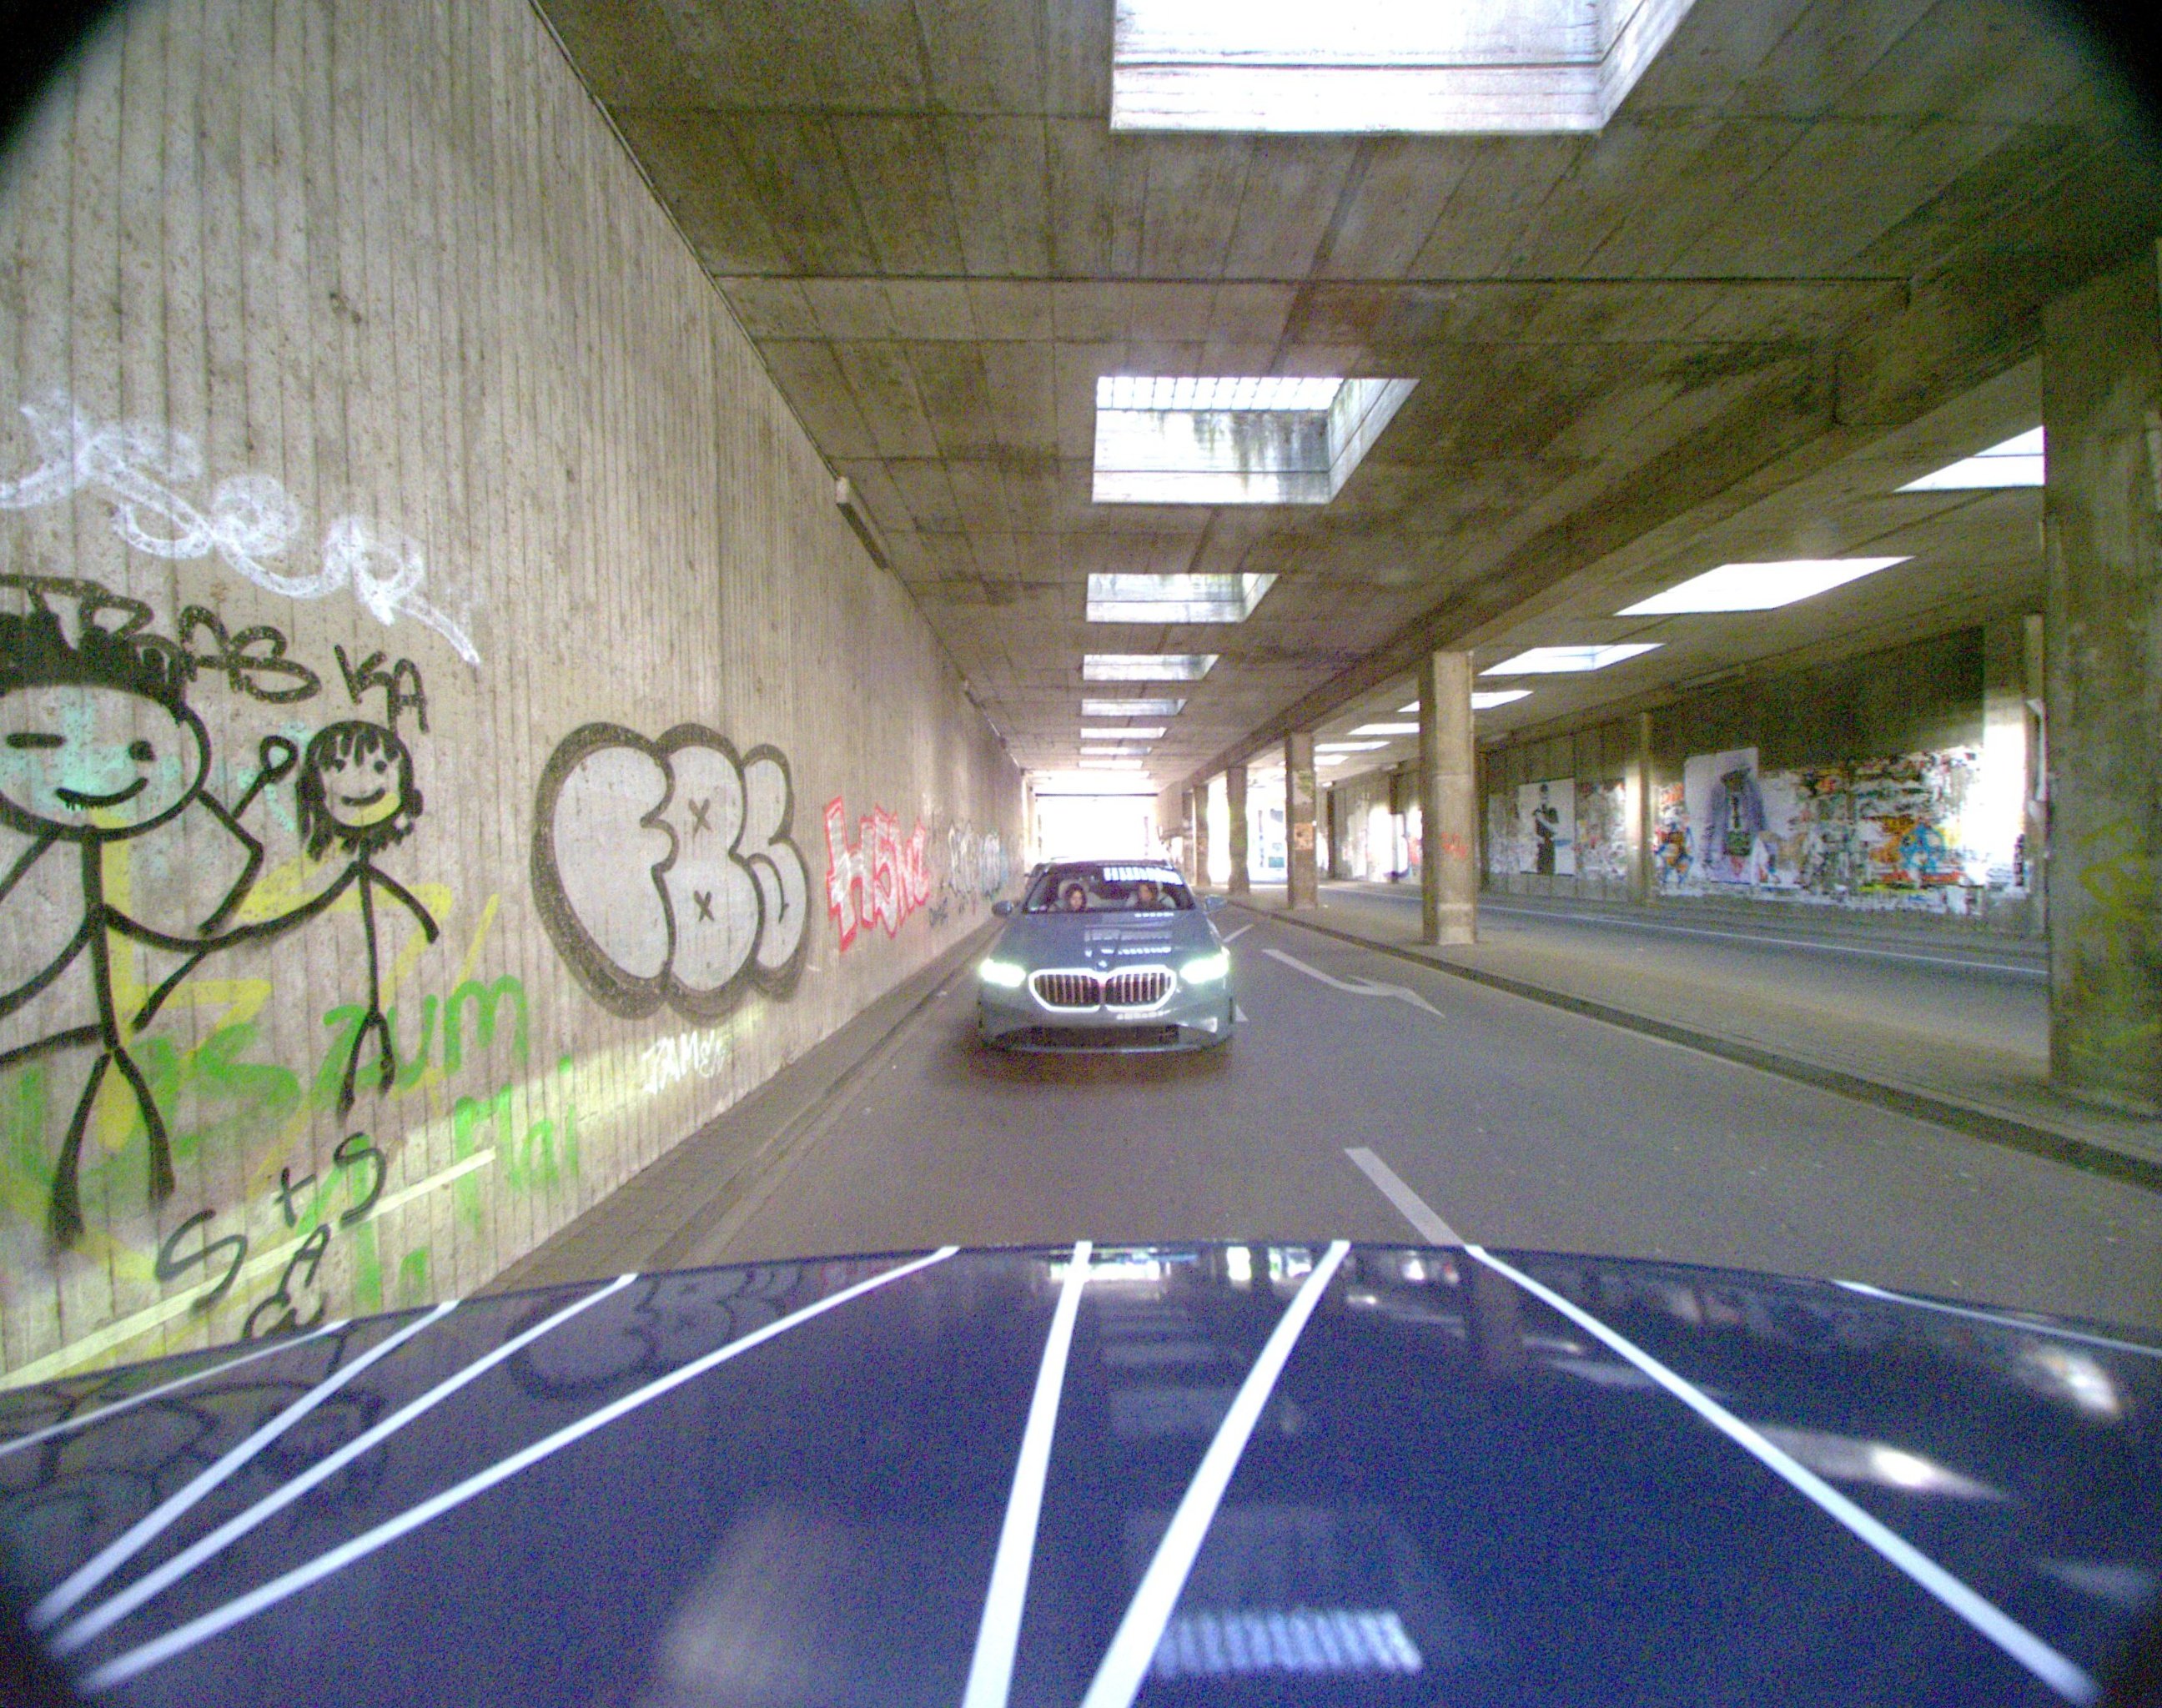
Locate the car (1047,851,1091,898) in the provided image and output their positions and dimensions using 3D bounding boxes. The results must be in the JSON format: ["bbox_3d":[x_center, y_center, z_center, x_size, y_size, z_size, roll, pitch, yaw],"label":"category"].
[{"bbox_3d":[-0.462,0.767,29.911,1.592,1.711,3.694,-2,0,0],"label":"car"}]

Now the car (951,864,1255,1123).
[{"bbox_3d":[0.129,0.902,7.269,1.861,1.516,5.042,-2,0,0],"label":"car"}]

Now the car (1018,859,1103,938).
[{"bbox_3d":[-0.424,0.916,17.278,1.679,1.516,3.969,-2,0,0],"label":"car"}]

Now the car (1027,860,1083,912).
[{"bbox_3d":[-0.760,0.944,23.904,1.592,1.432,3.806,-2,0,0],"label":"car"}]

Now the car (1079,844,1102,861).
[{"bbox_3d":[1.282,-0.196,103.650,2.161,2.150,4.785,-2,0,-12],"label":"car"}]

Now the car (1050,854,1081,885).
[{"bbox_3d":[-0.806,0.801,41.238,1.592,1.562,3.694,-2,0,0],"label":"car"}]

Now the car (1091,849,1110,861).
[{"bbox_3d":[2.479,0.135,97.958,1.741,1.519,3.786,-2,0,-9],"label":"car"}]
